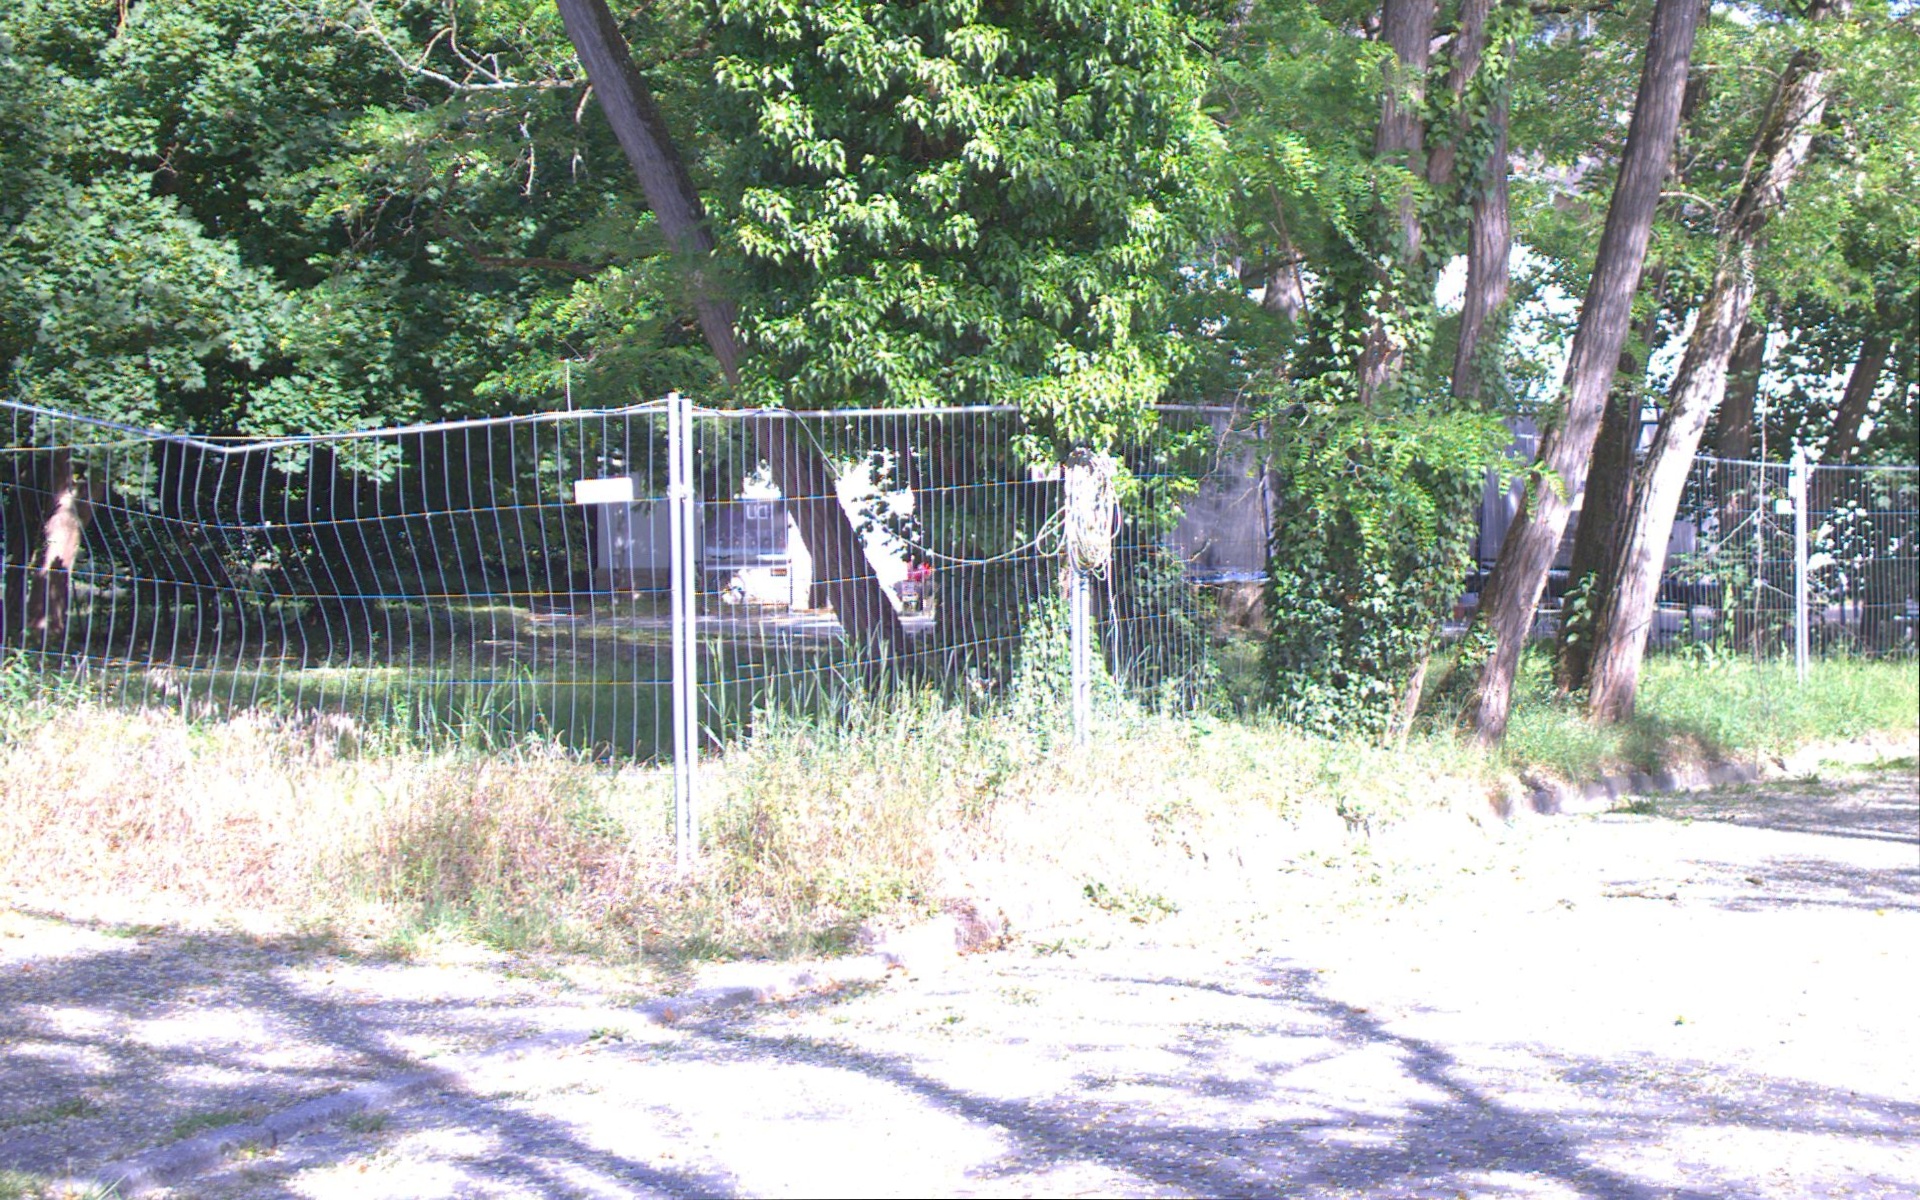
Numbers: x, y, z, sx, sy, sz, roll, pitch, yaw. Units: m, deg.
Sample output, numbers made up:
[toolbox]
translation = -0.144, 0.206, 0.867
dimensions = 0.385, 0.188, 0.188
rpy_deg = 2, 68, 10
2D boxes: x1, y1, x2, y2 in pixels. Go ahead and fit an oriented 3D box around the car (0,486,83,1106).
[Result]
[car]
translation = -4.646, 0.380, 9.034
dimensions = 4.265, 1.583, 1.827
rpy_deg = 4, 3, 23
